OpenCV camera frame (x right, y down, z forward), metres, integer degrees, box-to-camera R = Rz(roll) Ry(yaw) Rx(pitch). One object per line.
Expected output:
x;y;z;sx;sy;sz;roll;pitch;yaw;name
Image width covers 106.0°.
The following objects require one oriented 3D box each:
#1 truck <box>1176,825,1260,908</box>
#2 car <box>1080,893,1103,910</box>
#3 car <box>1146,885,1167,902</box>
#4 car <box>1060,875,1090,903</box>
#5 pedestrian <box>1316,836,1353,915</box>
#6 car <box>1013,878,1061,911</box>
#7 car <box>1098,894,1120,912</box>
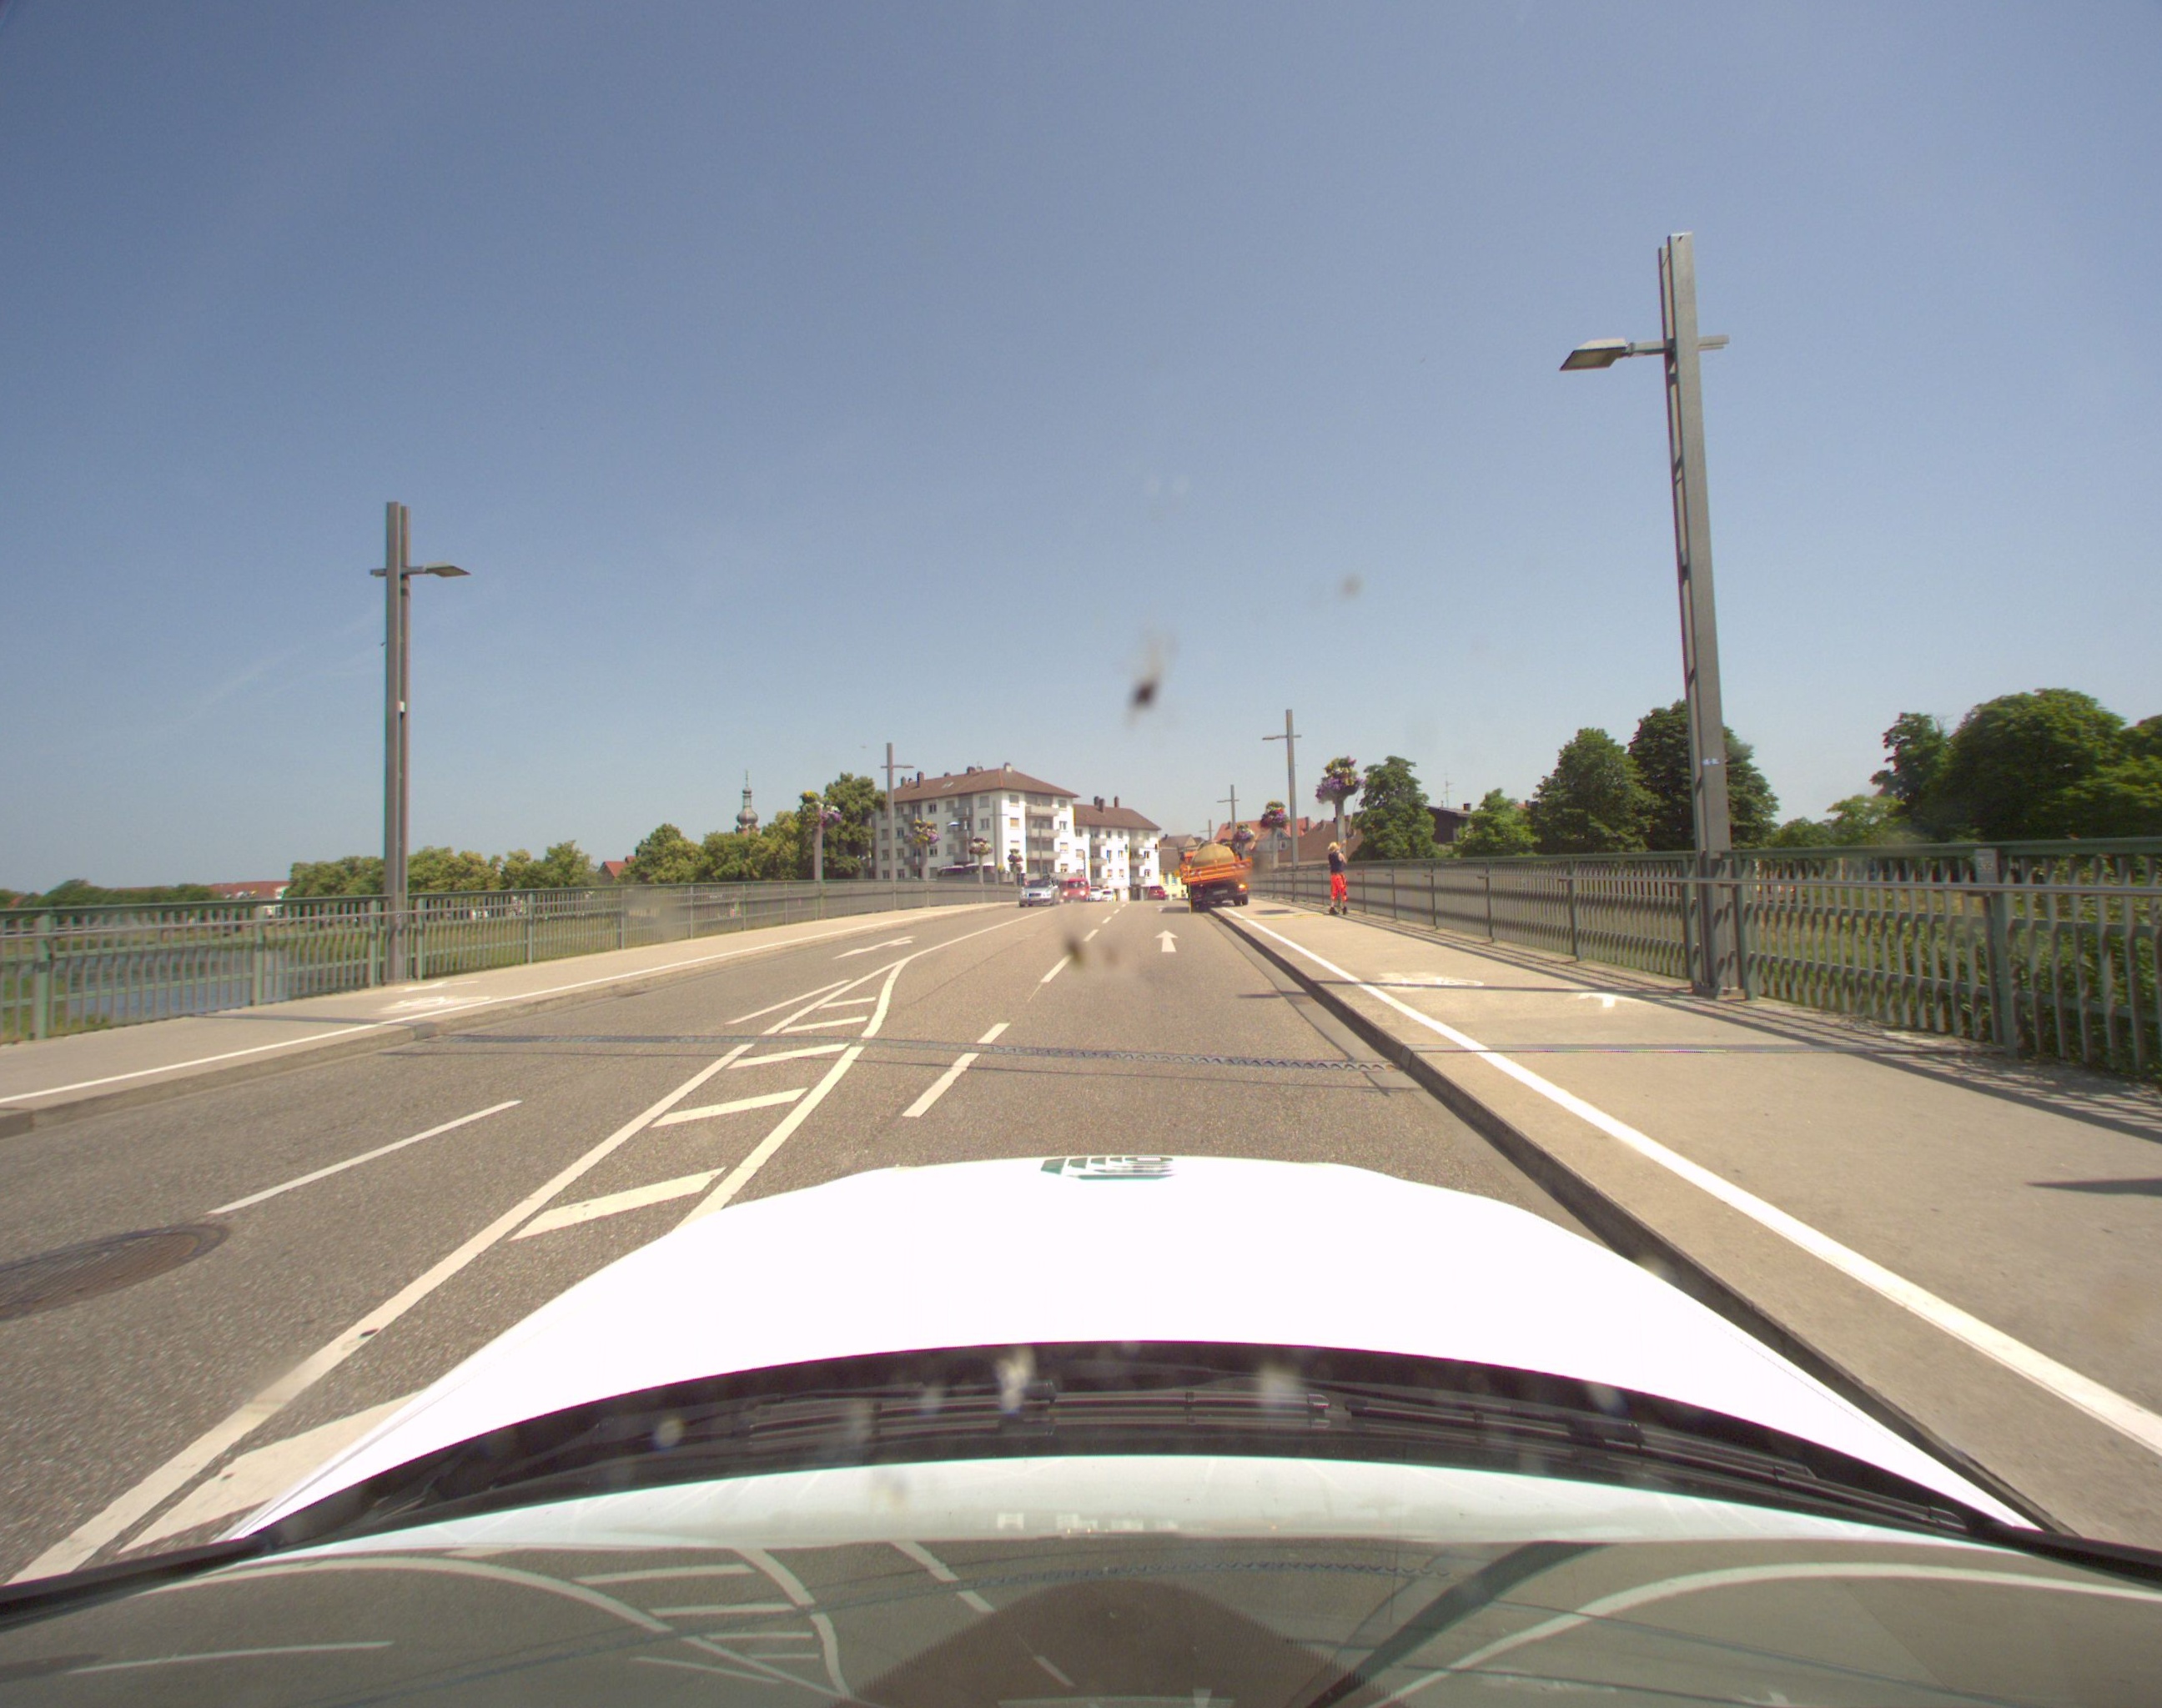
4.915;0.513;30.210;2.593;2.691;5.831;-2;-2;5;truck
0.966;4.235;73.189;1.836;1.432;4.716;-1;-3;3;car
7.724;4.009;83.373;1.982;1.613;4.345;-3;-2;3;car
-0.387;2.445;56.708;1.729;1.777;4.179;-2;-3;3;car
6.385;0.544;20.518;0.669;1.960;0.548;-2;-3;-2;pedestrian
-2.176;2.020;41.373;1.690;1.358;4.462;-5;-1;5;car
3.153;5.529;91.806;1.747;1.857;4.661;0;-1;12;car
